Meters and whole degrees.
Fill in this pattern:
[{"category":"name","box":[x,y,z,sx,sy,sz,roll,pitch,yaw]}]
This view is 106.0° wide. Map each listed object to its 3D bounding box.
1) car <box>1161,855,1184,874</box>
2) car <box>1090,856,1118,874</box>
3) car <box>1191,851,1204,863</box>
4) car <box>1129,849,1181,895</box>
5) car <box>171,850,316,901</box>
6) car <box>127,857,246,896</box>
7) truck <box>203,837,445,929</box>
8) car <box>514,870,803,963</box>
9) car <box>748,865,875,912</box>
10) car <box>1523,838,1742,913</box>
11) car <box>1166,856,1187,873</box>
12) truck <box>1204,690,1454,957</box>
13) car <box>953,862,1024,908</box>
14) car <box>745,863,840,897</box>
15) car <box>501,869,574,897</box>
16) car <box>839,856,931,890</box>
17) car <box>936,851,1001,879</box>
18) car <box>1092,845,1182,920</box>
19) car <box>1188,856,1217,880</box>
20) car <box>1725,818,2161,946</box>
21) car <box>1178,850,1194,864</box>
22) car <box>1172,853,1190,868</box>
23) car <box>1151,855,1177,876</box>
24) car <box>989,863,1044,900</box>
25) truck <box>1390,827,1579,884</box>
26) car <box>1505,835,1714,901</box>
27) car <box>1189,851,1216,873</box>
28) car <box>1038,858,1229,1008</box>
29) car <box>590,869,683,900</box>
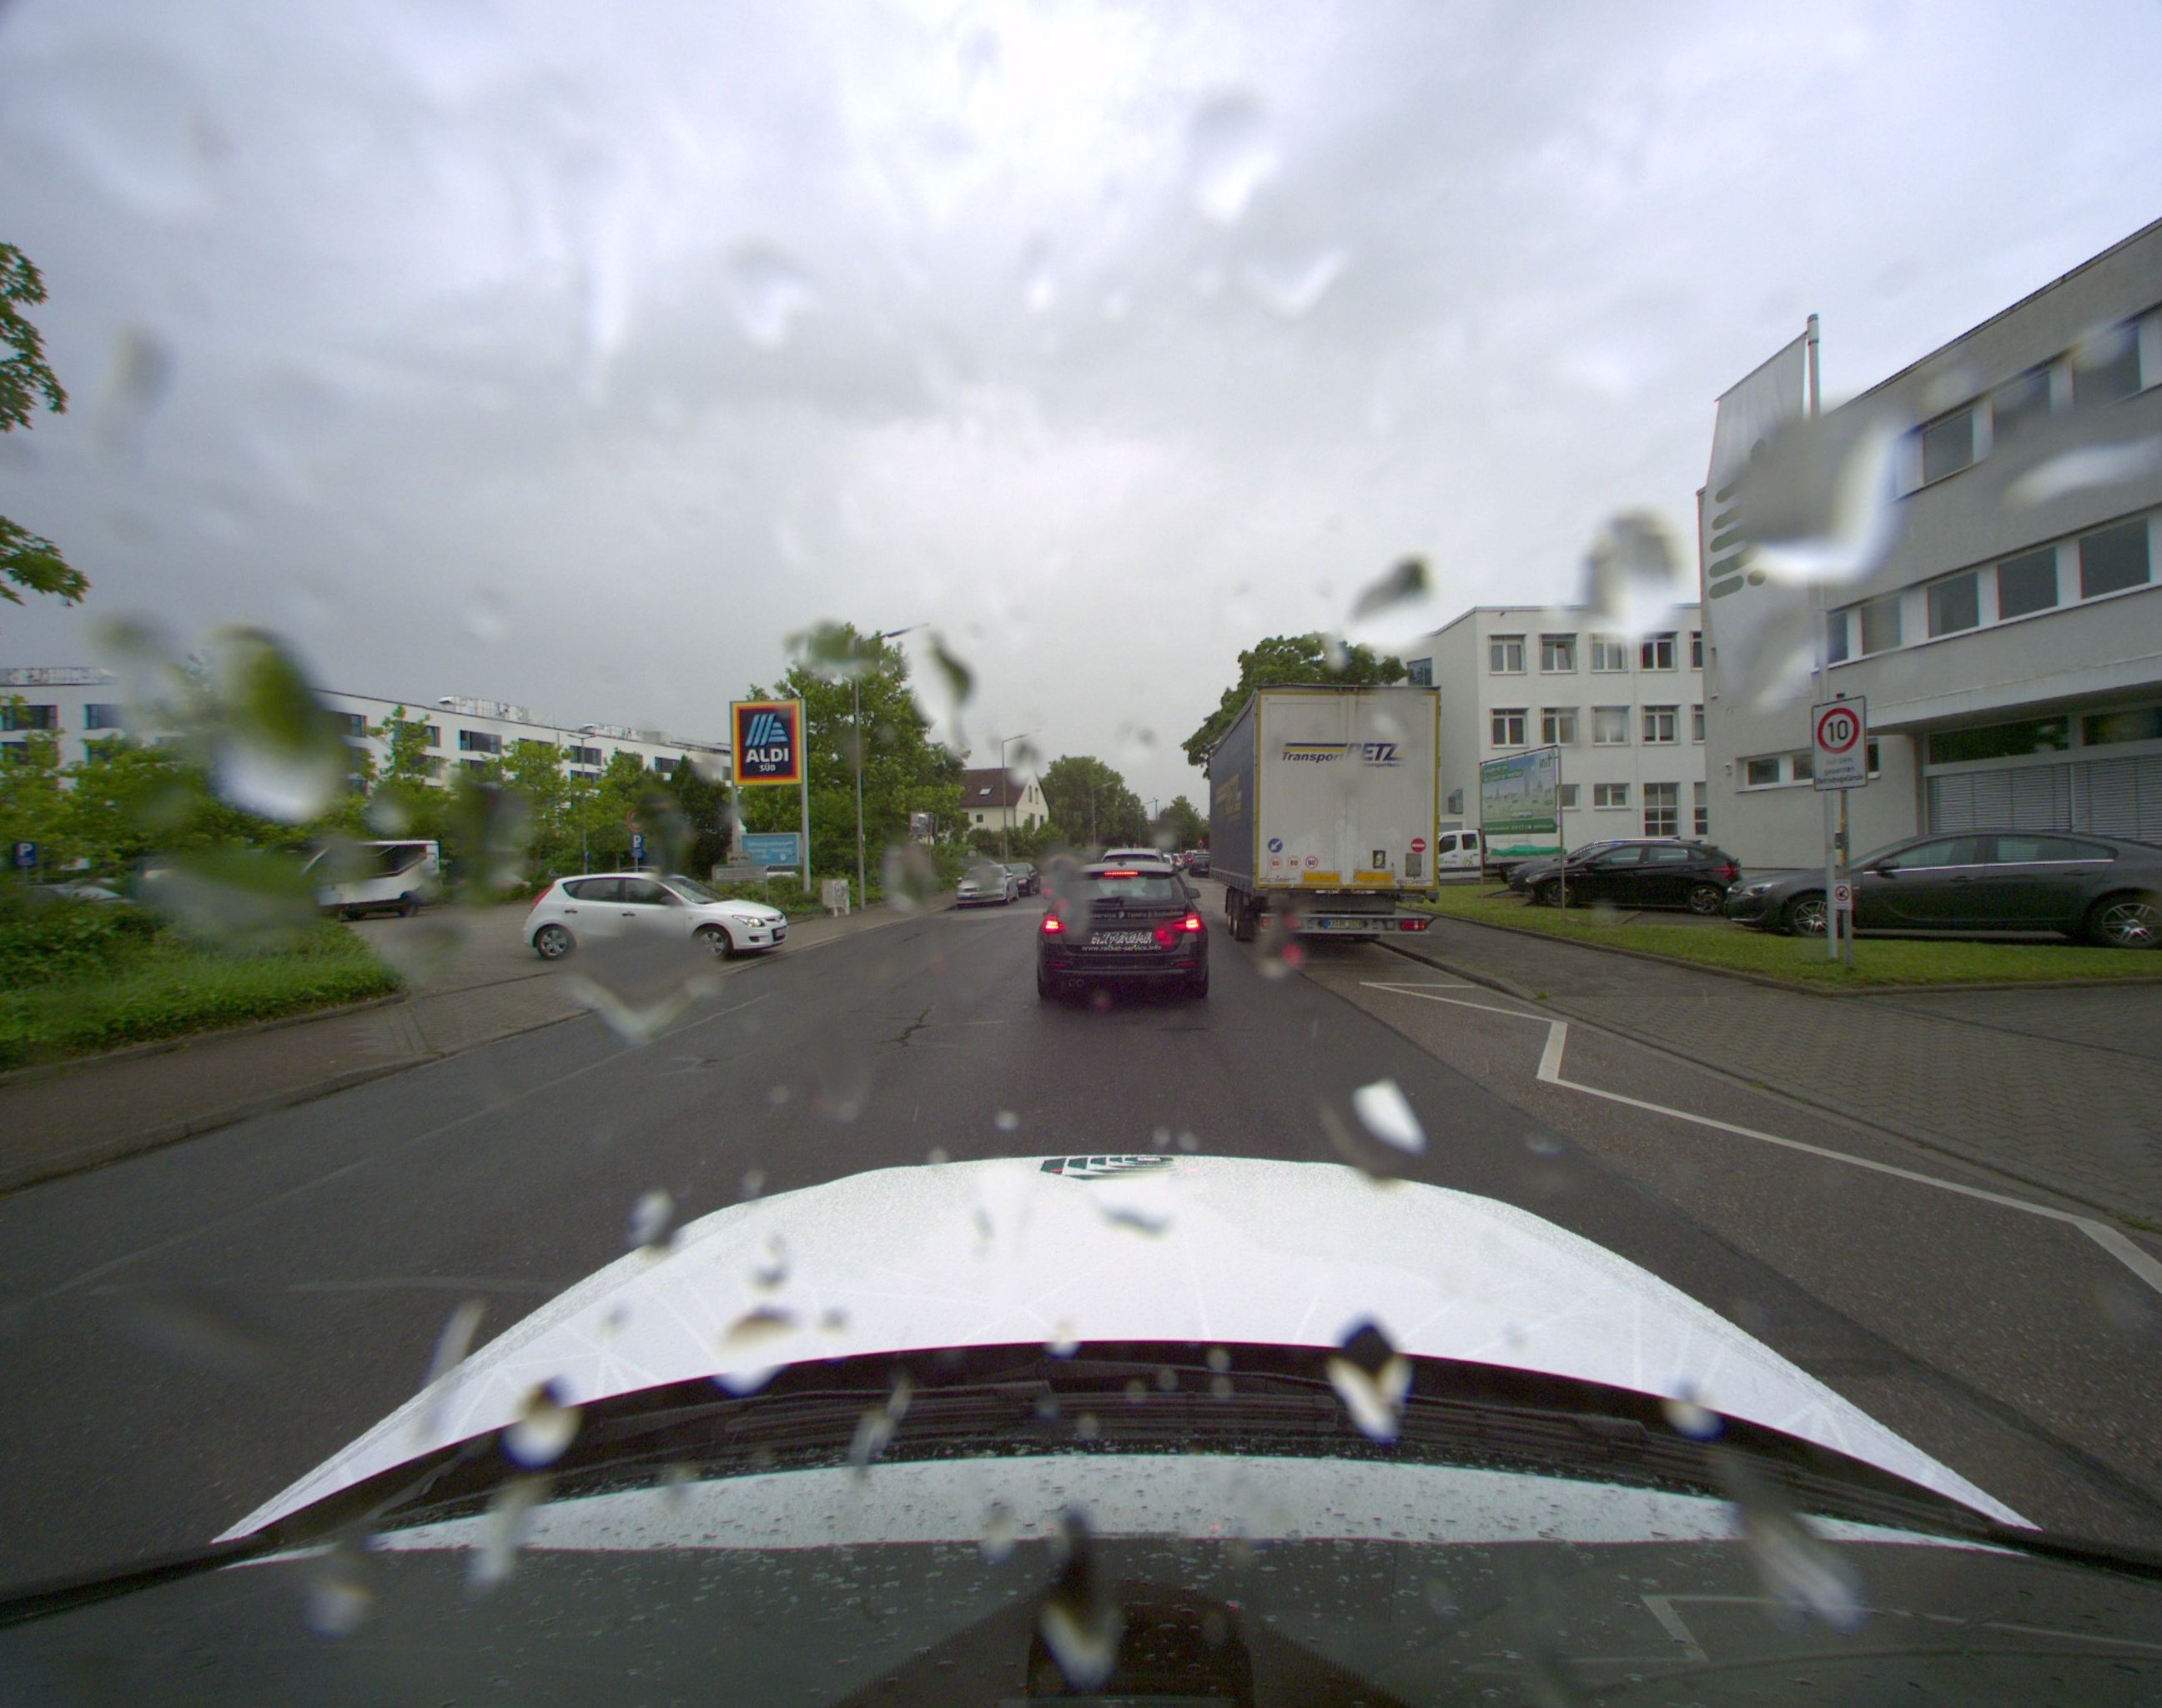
[{"category":"car","box":[7.827,0.883,69.652,1.794,1.586,4.009,-1,-1,9]},{"category":"car","box":[2.023,0.962,71.439,1.694,1.367,3.850,-4,0,11]},{"category":"car","box":[16.279,0.345,113.572,1.794,1.586,4.009,-2,0,8]},{"category":"car","box":[2.840,0.648,30.769,1.795,1.586,4.007,-1,-1,6]},{"category":"car","box":[-40.813,0.980,39.888,1.986,2.297,4.815,-2,0,1]},{"category":"car","box":[-48.386,1.192,44.196,1.986,2.014,4.001,-1,-1,1]},{"category":"truck","box":[-24.669,0.857,27.034,1.987,2.657,6.396,-2,0,0]},{"category":"car","box":[-7.340,1.056,14.464,4.180,1.460,1.711,-1,0,-3]},{"category":"car","box":[-8.783,1.093,26.742,3.556,1.460,1.713,0,0,2]},{"category":"car","box":[11.855,0.388,17.622,3.733,1.396,1.738,2,2,41]},{"category":"car","box":[9.365,1.011,79.691,1.794,1.586,4.009,-1,-1,9]},{"category":"truck","box":[3.965,-0.416,15.004,2.729,3.611,7.758,1,0,4]},{"category":"car","box":[-3.214,1.036,29.152,1.699,1.367,4.604,-4,0,3]},{"category":"car","box":[-14.278,1.258,40.411,3.972,1.540,1.911,-1,0,1]},{"category":"car","box":[-36.500,1.929,54.757,3.805,1.594,1.714,-4,0,7]},{"category":"car","box":[-9.614,0.928,40.113,3.972,1.540,1.911,-1,0,1]},{"category":"car","box":[-7.393,0.727,53.678,3.805,1.594,1.714,-4,0,7]},{"category":"car","box":[1.250,0.639,19.641,1.799,1.586,3.998,-1,-1,-1]},{"category":"car","box":[8.126,0.923,54.841,1.795,1.586,4.007,-1,-1,6]},{"category":"car","box":[11.705,0.348,11.045,4.616,1.468,1.803,-2,0,38]},{"category":"car","box":[12.412,0.386,96.102,1.794,1.586,4.009,-2,0,8]},{"category":"car","box":[10.765,0.702,87.878,1.794,1.586,4.009,-1,-1,9]},{"category":"car","box":[6.466,0.887,63.114,1.794,1.586,4.009,-1,-1,9]},{"category":"car","box":[-2.709,1.142,34.963,1.698,1.367,3.842,-4,0,4]},{"category":"truck","box":[16.844,0.050,34.262,6.897,2.140,2.095,-2,0,2]},{"category":"car","box":[12.842,0.295,19.929,4.098,1.415,1.701,0,3,41]},{"category":"car","box":[8.962,0.591,60.340,1.795,1.586,4.007,-1,-1,6]},{"category":"car","box":[0.460,0.766,9.730,1.799,1.395,3.998,-1,-1,-1]},{"category":"car","box":[-24.648,1.686,45.257,3.971,1.499,2.001,-2,0,2]}]
